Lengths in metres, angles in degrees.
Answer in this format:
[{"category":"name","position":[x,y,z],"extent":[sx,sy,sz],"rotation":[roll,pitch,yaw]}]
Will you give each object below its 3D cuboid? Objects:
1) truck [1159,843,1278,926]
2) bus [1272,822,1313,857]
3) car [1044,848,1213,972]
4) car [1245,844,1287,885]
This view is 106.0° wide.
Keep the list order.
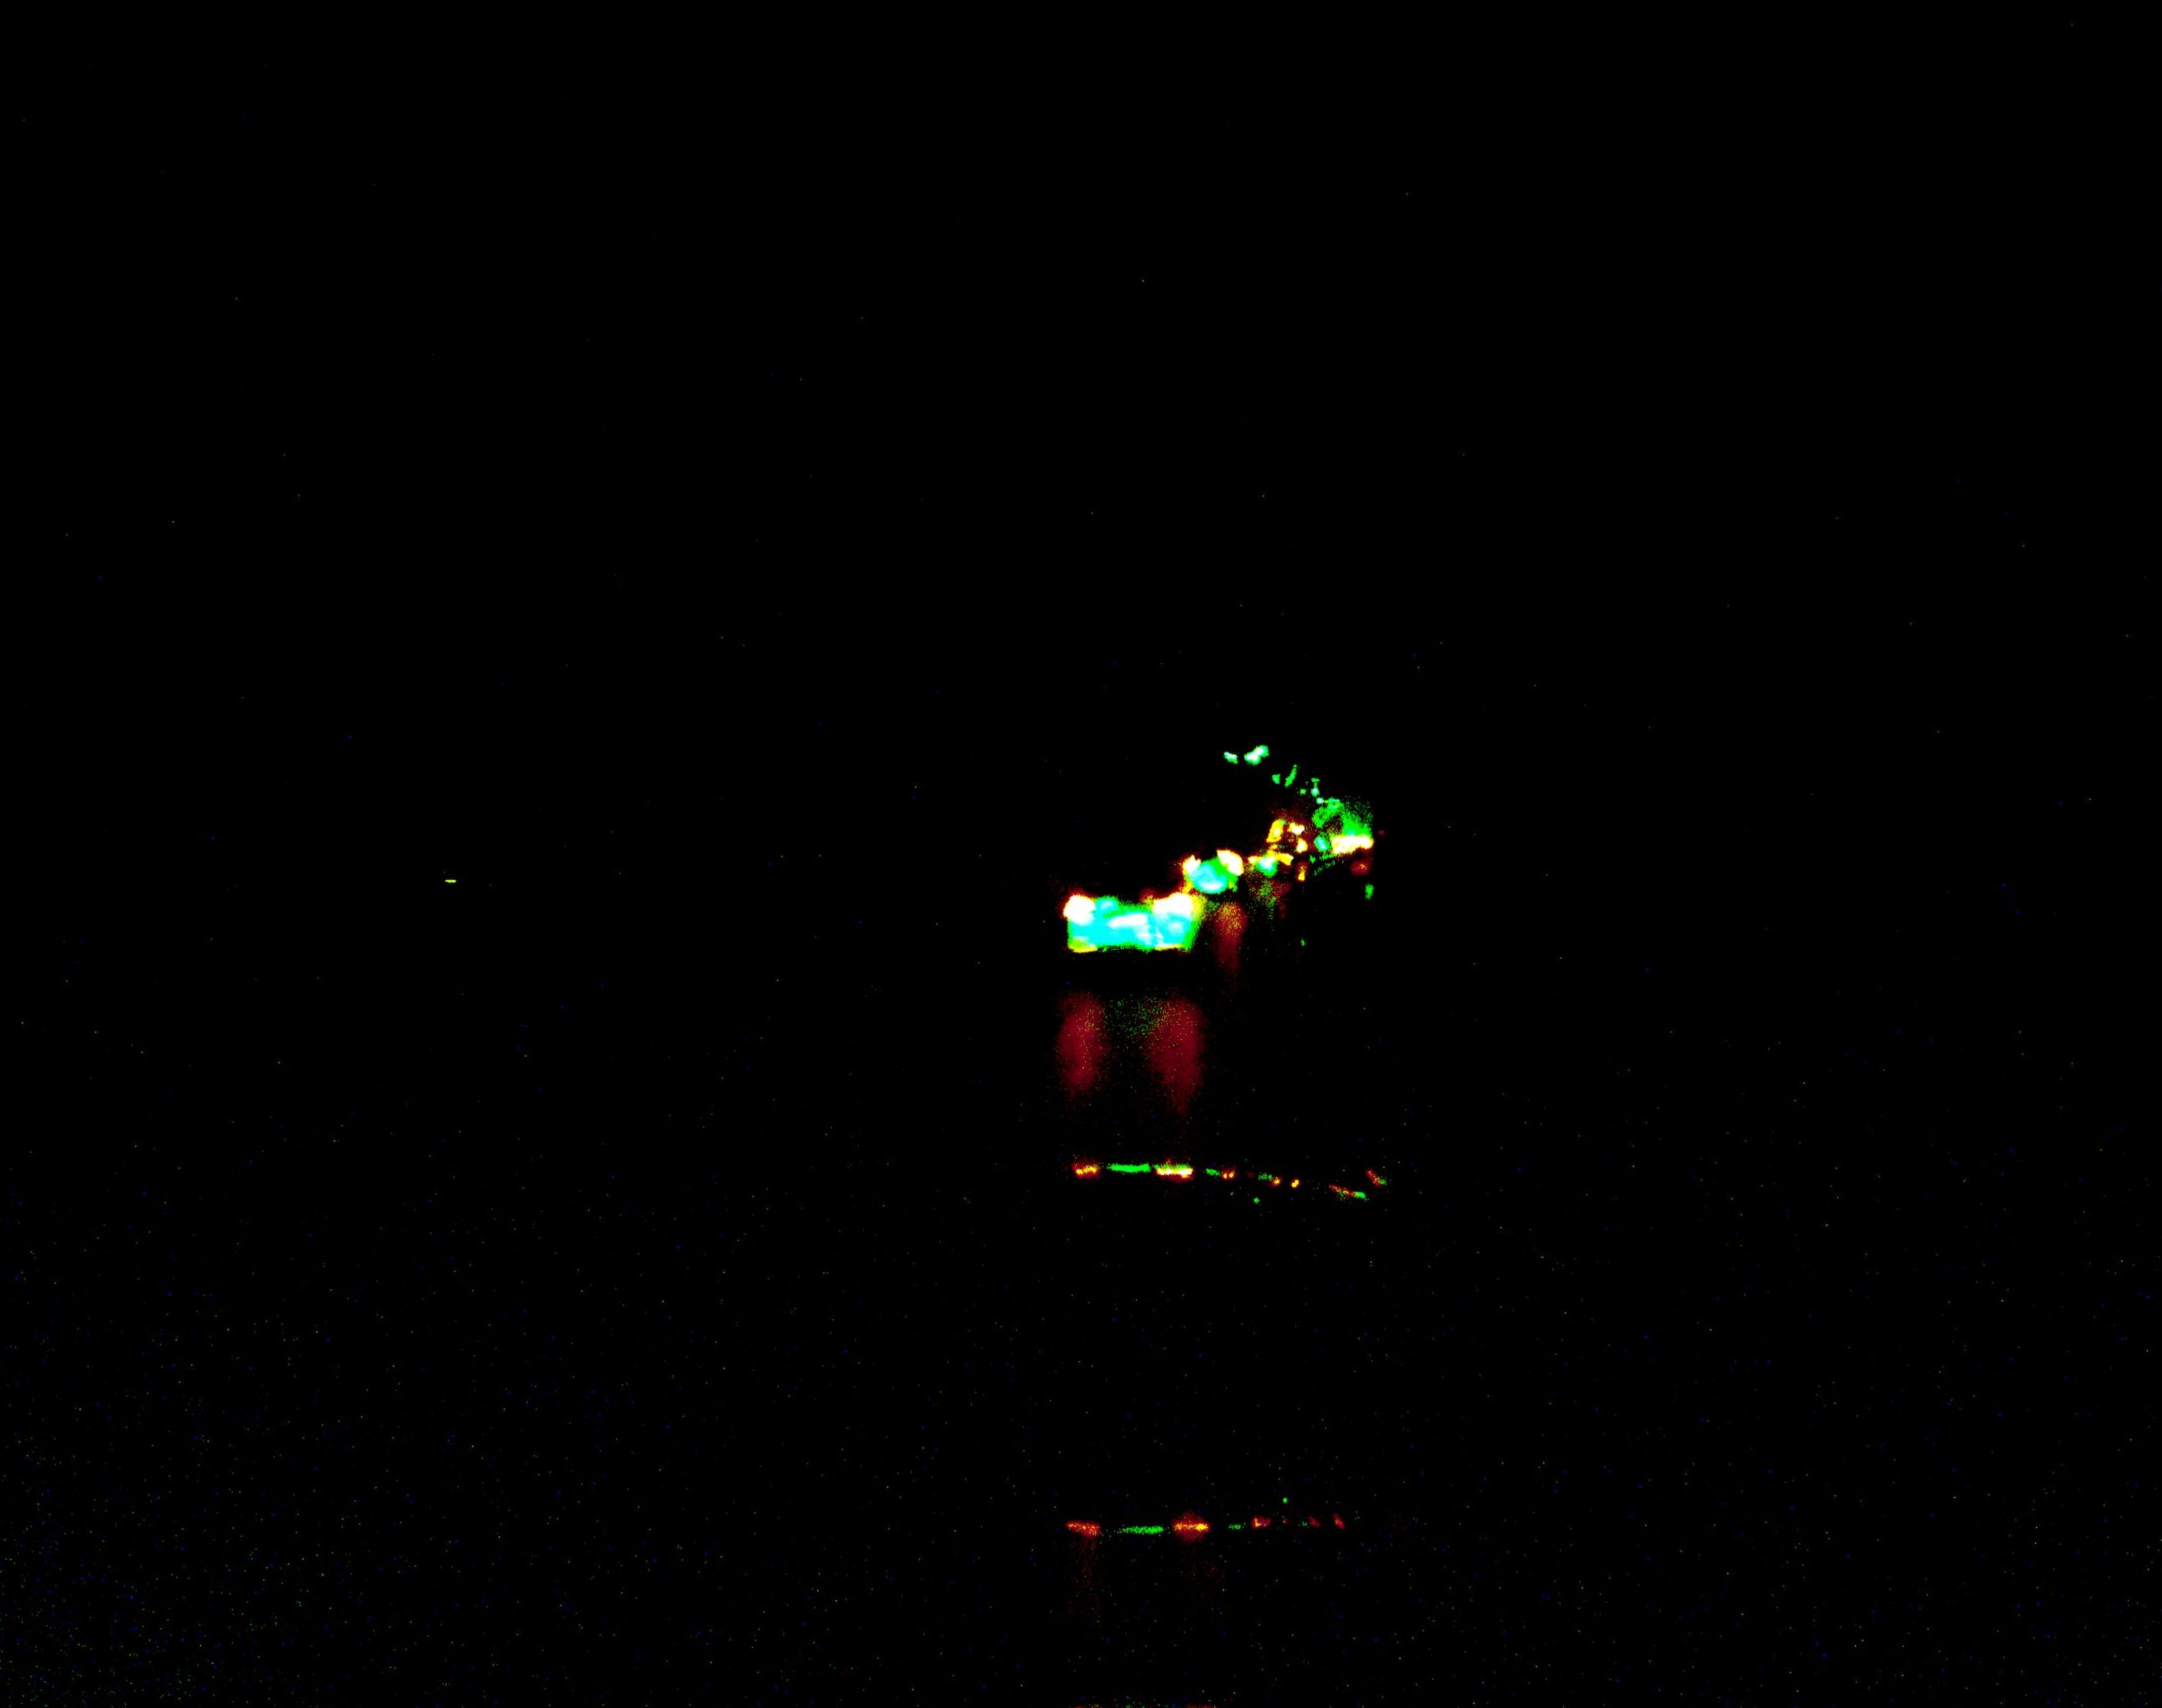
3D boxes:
[{"category":"truck","position":[5.058,0.994,28.694],"extent":[3.045,2.528,7.199],"rotation":[-1,-1,18]},{"category":"bus","position":[20.738,-1.390,79.335],"extent":[2.720,3.123,9.250],"rotation":[-1,1,21]},{"category":"car","position":[0.872,0.710,12.002],"extent":[1.932,1.491,3.727],"rotation":[-3,0,11]},{"category":"car","position":[9.460,0.536,41.427],"extent":[1.822,1.948,4.016],"rotation":[-1,-1,15]}]
